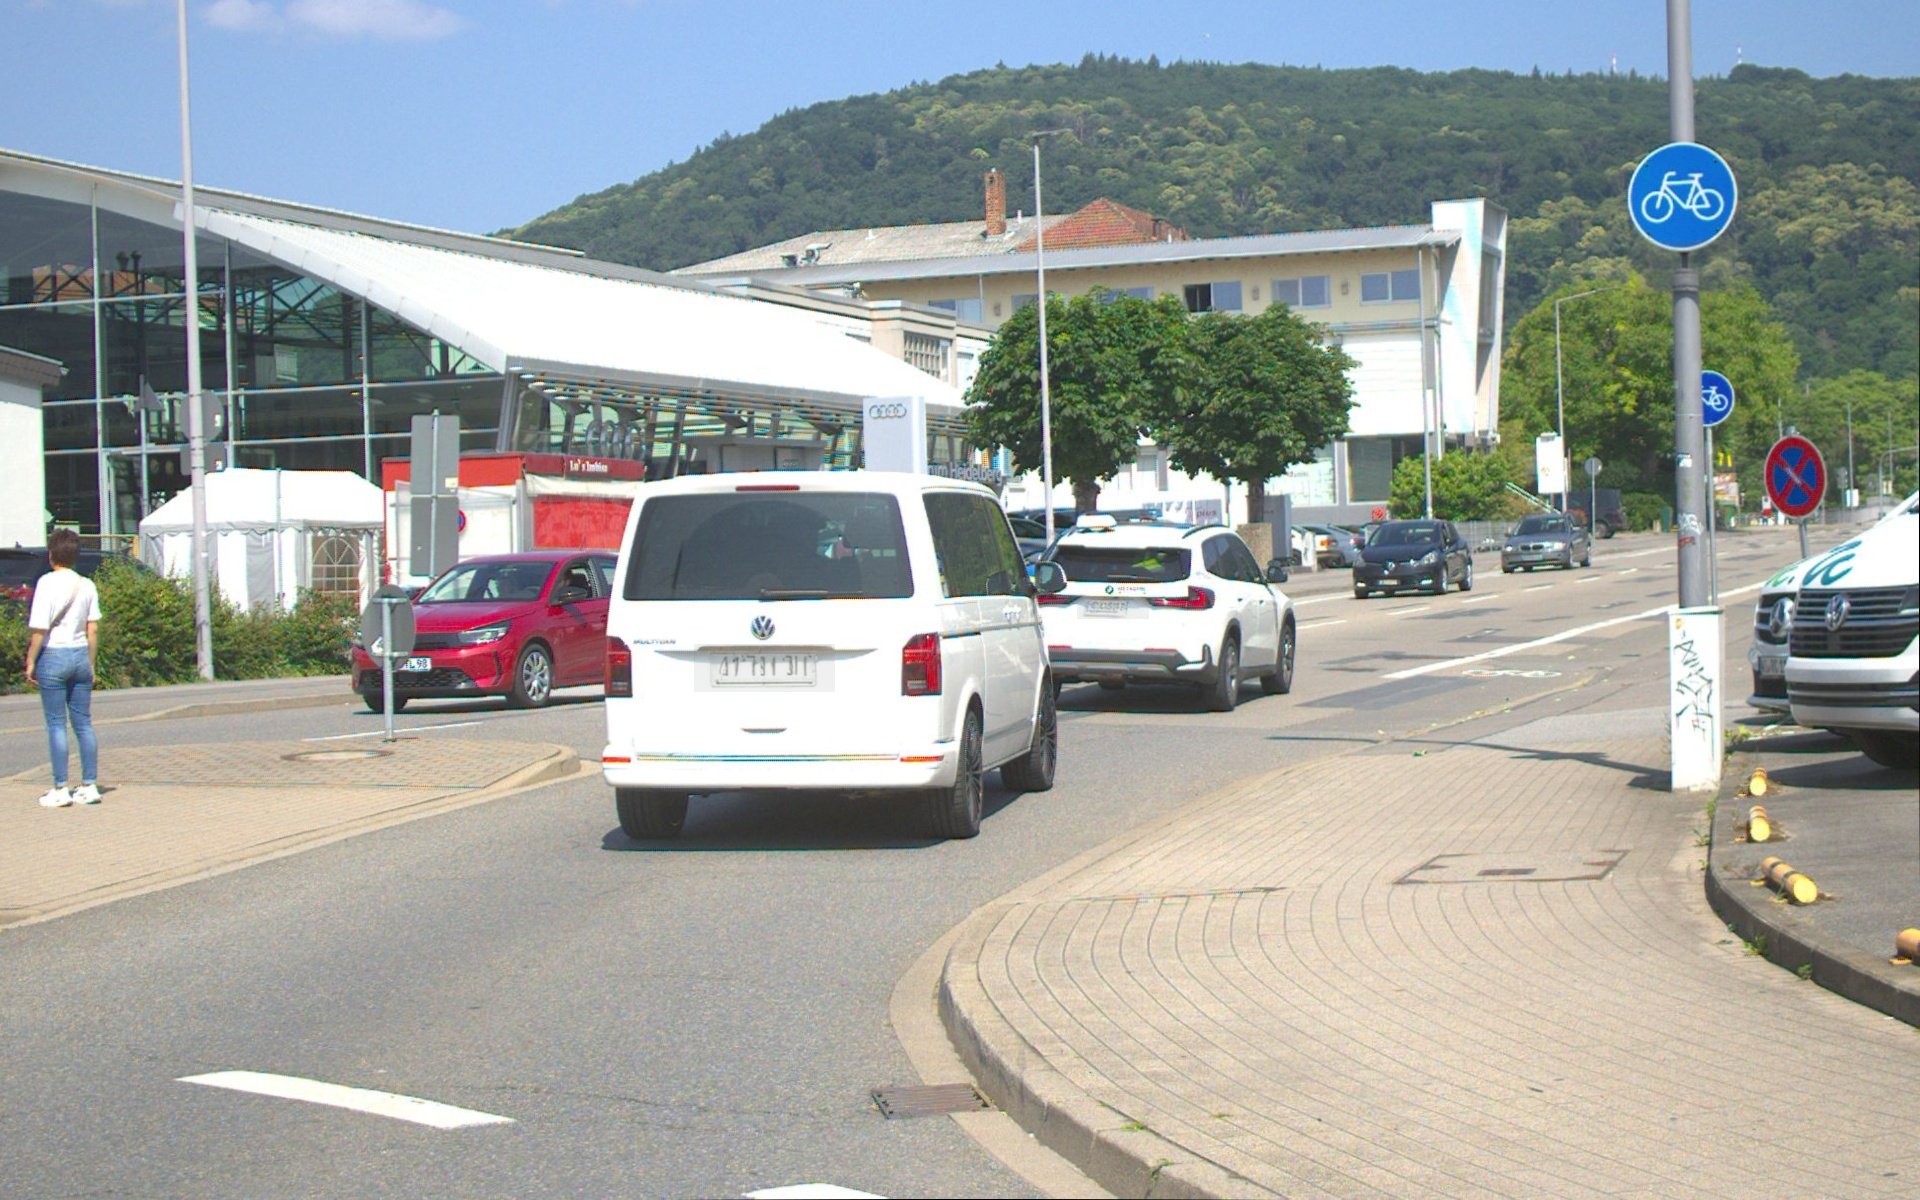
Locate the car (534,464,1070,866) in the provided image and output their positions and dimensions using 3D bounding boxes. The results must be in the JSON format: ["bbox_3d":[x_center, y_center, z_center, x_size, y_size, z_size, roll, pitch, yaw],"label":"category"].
[{"bbox_3d":[-0.726,0.242,19.811,2.163,2.006,5.017,0,2,8],"label":"car"}]

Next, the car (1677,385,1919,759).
[{"bbox_3d":[7.034,-0.290,20.087,5.132,2.007,1.931,-3,1,-10],"label":"car"}]

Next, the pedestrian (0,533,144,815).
[{"bbox_3d":[-5.396,0.433,20.801,0.759,1.651,0.673,-2,1,-22],"label":"pedestrian"}]

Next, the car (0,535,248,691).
[{"bbox_3d":[-10.207,0.125,39.514,1.996,1.612,3.996,-2,1,23],"label":"car"}]

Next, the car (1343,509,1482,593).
[{"bbox_3d":[8.703,-0.953,65.809,1.843,1.459,3.997,-2,1,19],"label":"car"}]

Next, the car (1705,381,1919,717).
[{"bbox_3d":[7.836,-0.388,22.919,5.140,2.087,2.050,-2,-1,-10],"label":"car"}]

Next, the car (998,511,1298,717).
[{"bbox_3d":[1.773,0.064,31.028,1.995,1.701,3.998,1,2,14],"label":"car"}]

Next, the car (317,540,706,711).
[{"bbox_3d":[-4.106,0.225,32.197,1.843,1.459,4.139,-2,0,21],"label":"car"}]

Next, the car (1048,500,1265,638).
[{"bbox_3d":[2.807,-0.467,48.154,1.910,1.754,4.448,-2,1,18],"label":"car"}]

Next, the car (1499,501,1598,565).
[{"bbox_3d":[14.750,-1.697,86.087,1.843,1.459,3.997,-2,1,18],"label":"car"}]

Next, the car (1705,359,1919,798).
[{"bbox_3d":[6.579,-0.212,17.179,5.141,1.993,2.025,-3,0,-14],"label":"car"}]

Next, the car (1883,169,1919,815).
[{"bbox_3d":[7.235,-0.570,14.366,6.135,2.707,2.307,-3,1,-16],"label":"car"}]

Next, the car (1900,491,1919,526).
[{"bbox_3d":[37.859,-3.606,134.640,1.720,1.298,3.997,-2,1,19],"label":"car"}]

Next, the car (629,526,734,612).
[{"bbox_3d":[-5.396,-0.622,66.913,1.745,1.579,3.662,-2,1,-1],"label":"car"}]
